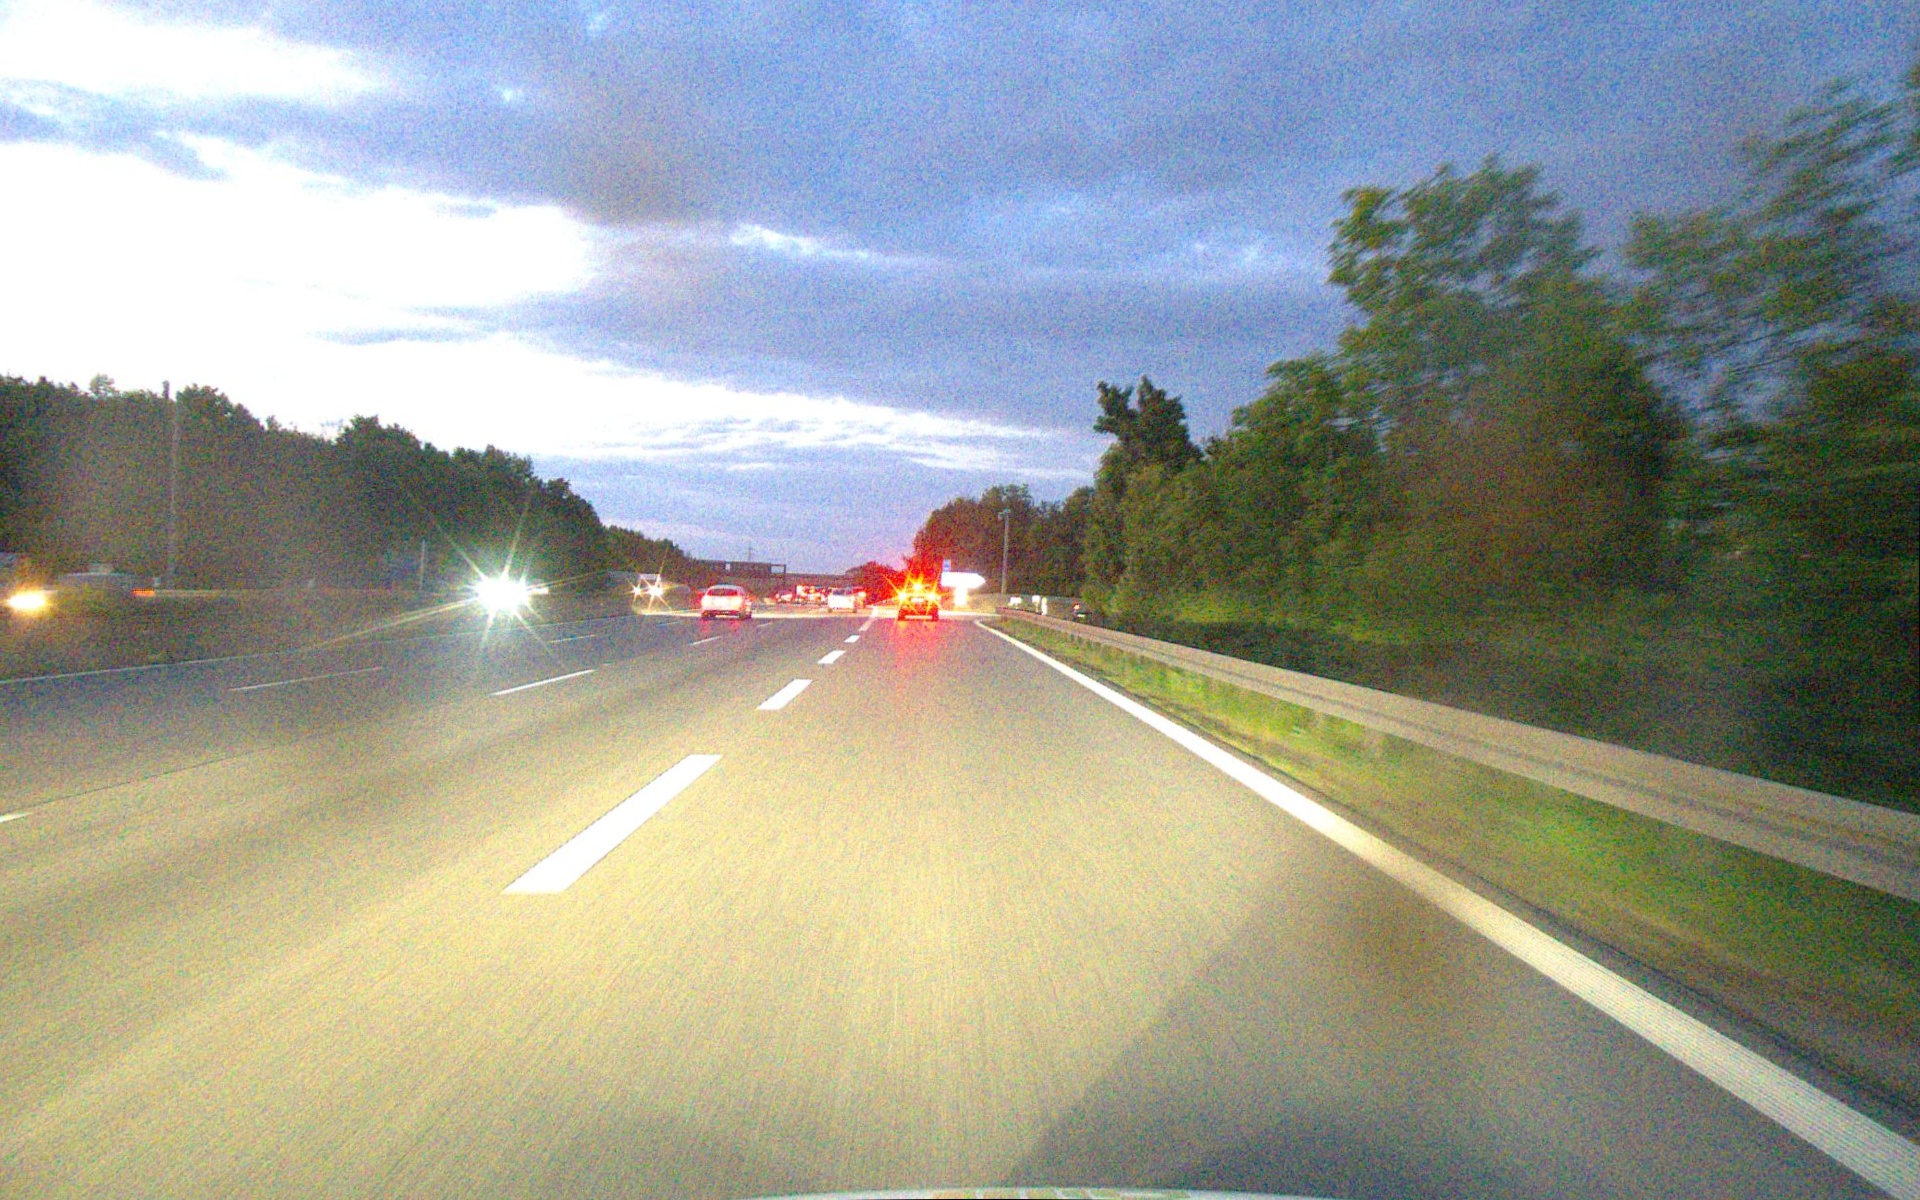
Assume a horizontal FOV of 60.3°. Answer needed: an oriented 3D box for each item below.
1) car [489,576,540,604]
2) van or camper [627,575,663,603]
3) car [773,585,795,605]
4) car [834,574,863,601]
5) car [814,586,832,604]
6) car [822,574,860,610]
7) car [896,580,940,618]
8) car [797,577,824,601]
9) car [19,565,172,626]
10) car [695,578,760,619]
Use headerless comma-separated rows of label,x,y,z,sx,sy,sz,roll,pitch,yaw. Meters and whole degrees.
car,-26.146,-0.579,97.129,1.953,1.573,3.999,1,0,-2
van or camper,-30.427,-1.055,160.026,2.466,2.640,6.485,1,0,-3
car,-18.514,-0.564,174.280,2.062,2.049,3.998,0,0,-2
car,-8.484,-0.967,125.870,1.953,2.049,4.000,0,1,0
car,-15.994,-0.557,193.545,1.955,2.049,3.994,1,0,-6
car,-6.949,-0.492,96.889,1.953,2.049,3.999,1,0,-1
car,-1.927,-0.052,76.450,1.953,1.688,4.314,1,1,-1
car,-13.493,-0.999,149.396,2.029,2.049,4.000,0,0,0
car,-24.415,-0.143,46.909,1.953,1.638,4.558,1,0,0
car,-9.908,-0.089,70.702,1.952,1.671,4.556,0,0,3
